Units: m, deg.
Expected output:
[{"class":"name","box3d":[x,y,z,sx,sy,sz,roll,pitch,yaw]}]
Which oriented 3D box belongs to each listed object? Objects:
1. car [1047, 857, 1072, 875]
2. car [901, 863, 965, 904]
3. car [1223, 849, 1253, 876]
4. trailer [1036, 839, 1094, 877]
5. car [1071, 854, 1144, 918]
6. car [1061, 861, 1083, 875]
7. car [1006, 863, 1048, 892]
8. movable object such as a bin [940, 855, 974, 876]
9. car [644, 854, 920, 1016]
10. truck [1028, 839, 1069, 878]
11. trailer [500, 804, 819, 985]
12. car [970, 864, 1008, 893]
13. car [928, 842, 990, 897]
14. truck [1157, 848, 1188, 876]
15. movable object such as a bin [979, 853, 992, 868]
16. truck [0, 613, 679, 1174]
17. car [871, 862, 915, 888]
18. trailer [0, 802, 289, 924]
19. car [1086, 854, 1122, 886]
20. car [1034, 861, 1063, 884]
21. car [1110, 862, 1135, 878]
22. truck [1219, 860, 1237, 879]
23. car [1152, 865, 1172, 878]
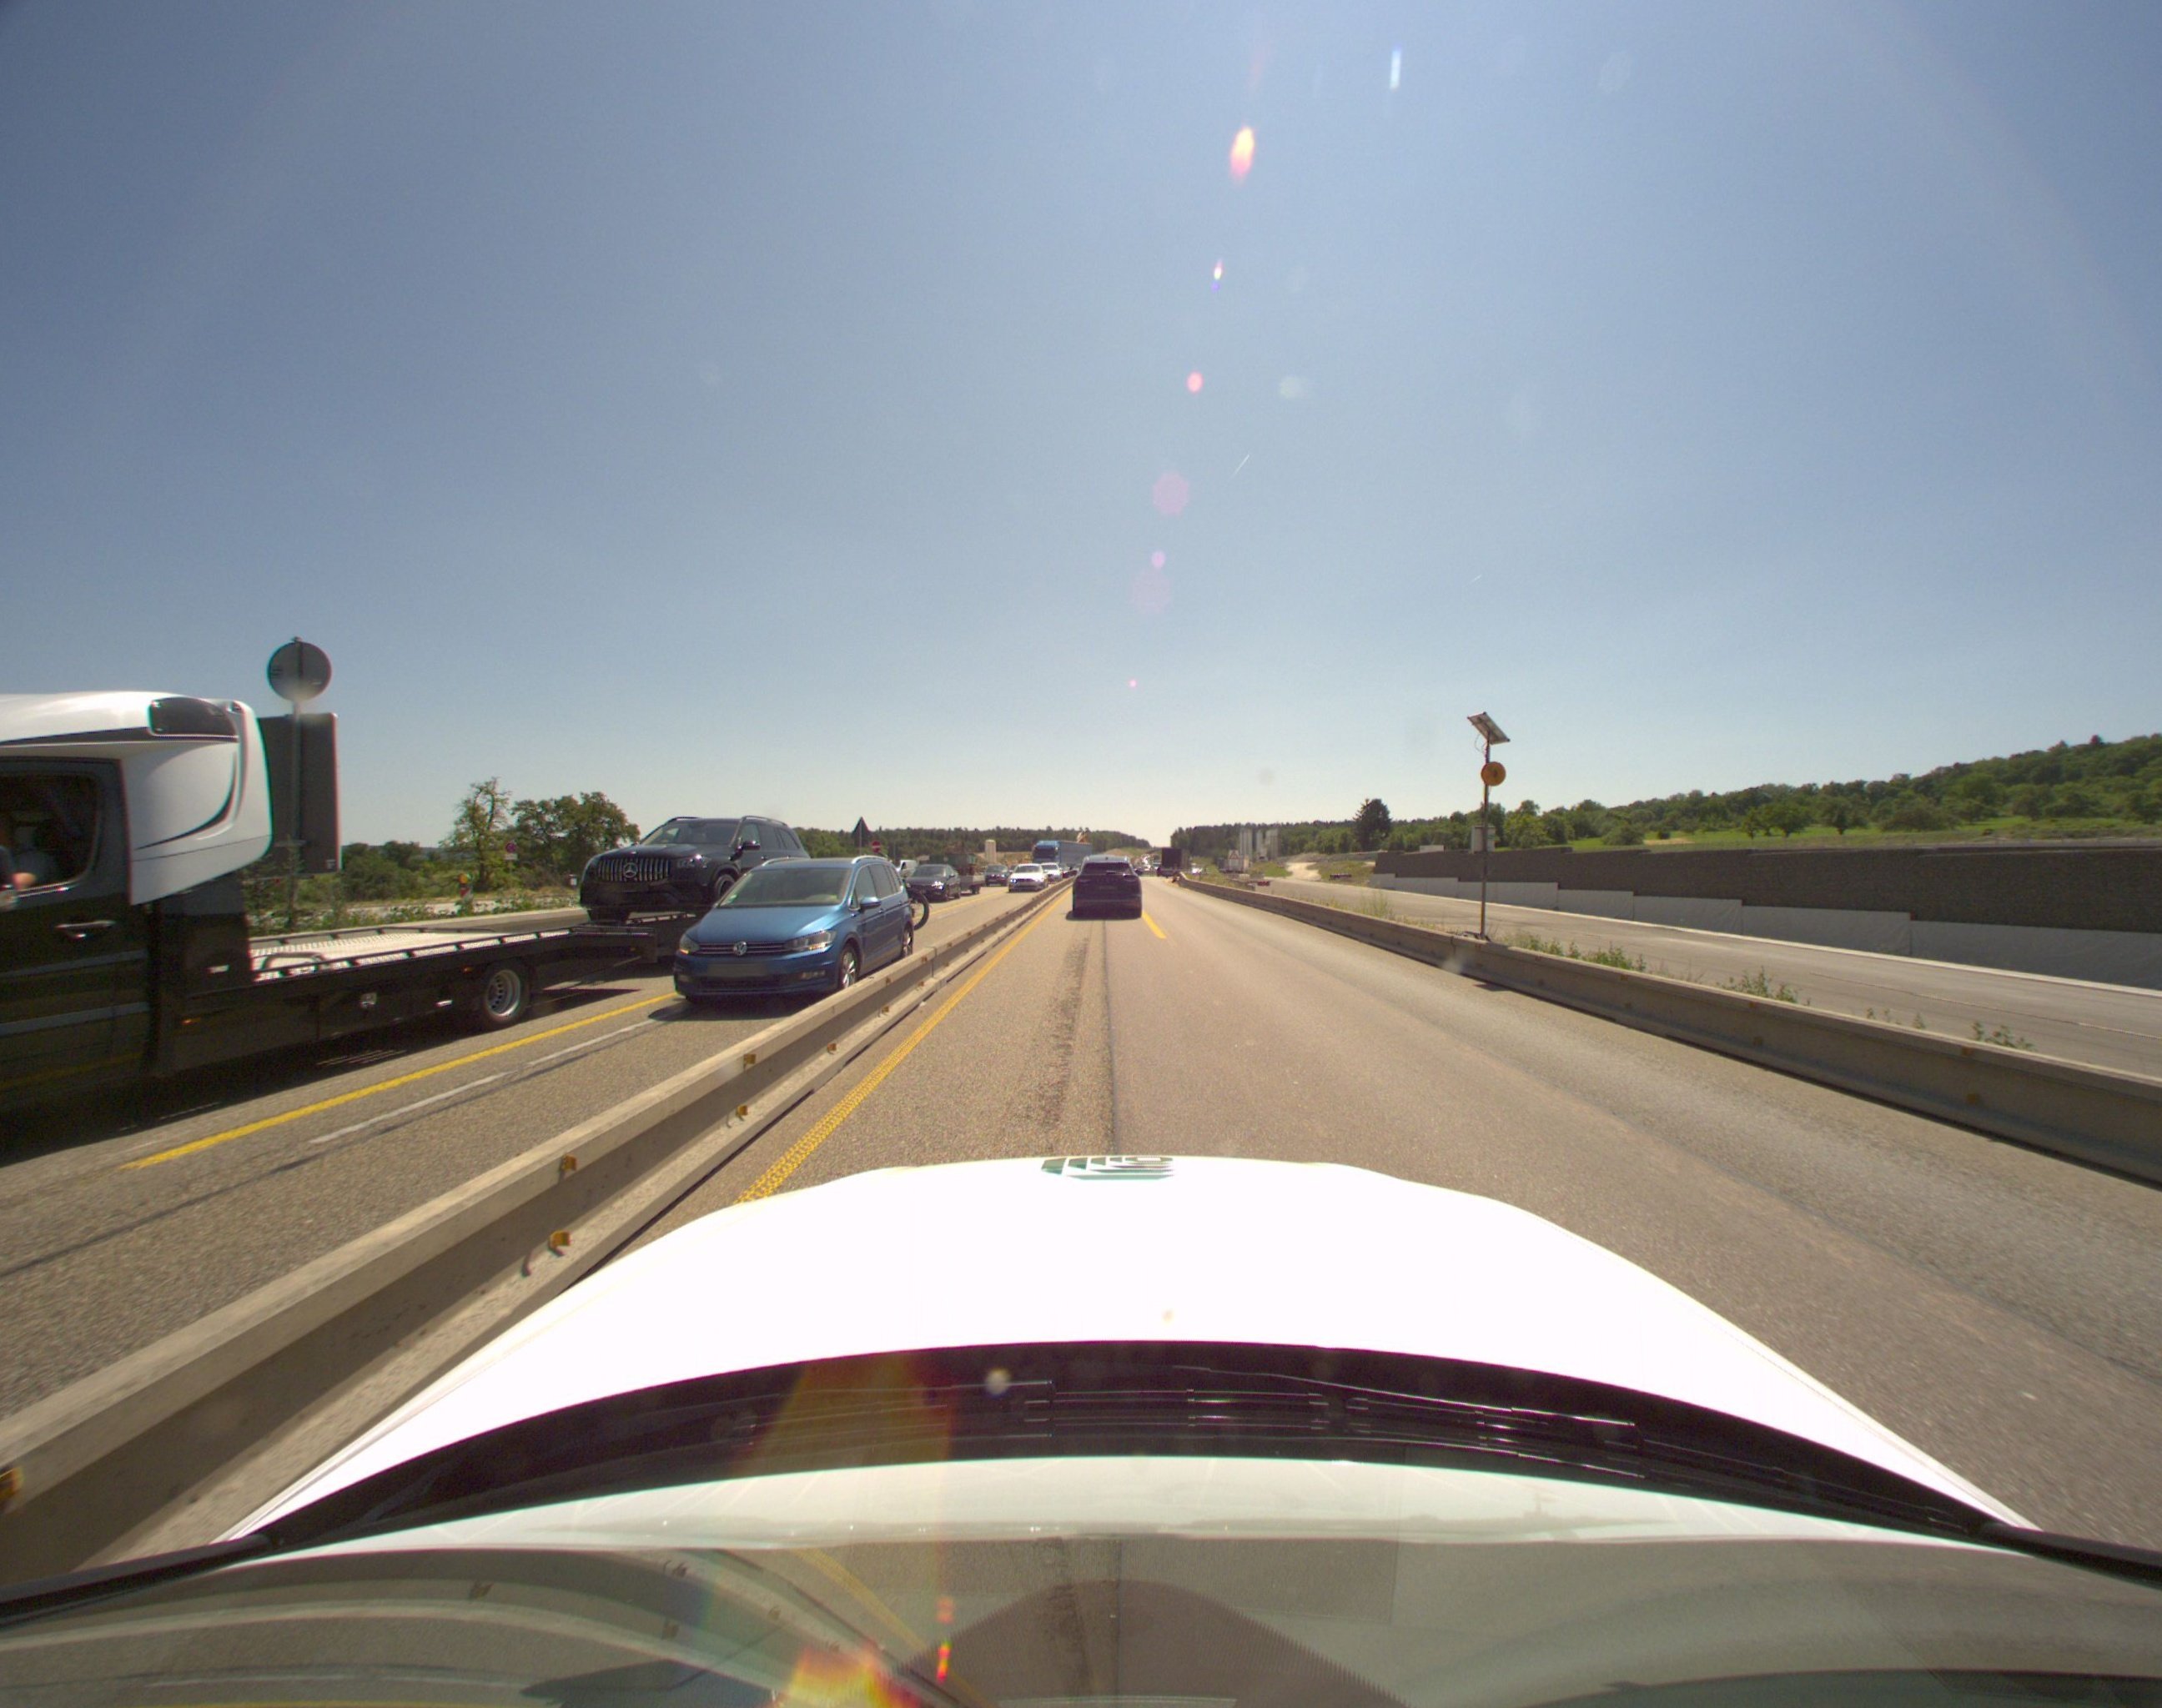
[{"class":"car","box3d":[-1.872,1.060,71.883,2.009,1.444,4.588,-1,1,1]},{"class":"car","box3d":[-5.882,1.128,32.738,1.681,1.452,4.336,-1,0,1]},{"class":"car","box3d":[25.582,1.475,132.399,3.410,4.101,9.237,4,0,18]},{"class":"trailer","box3d":[-1.723,0.498,97.171,2.892,4.129,13.974,-1,0,16]},{"class":"car","box3d":[0.737,0.810,22.538,1.835,1.582,4.002,-1,0,2]},{"class":"car","box3d":[-0.915,1.503,87.453,1.579,1.441,4.137,-2,-1,10]},{"class":"car","box3d":[-2.752,1.175,42.075,1.810,1.376,4.248,0,0,1]},{"class":"movable object such as a bin","box3d":[-19.952,1.861,131.566,3.773,3.256,5.569,3,0,8]},{"class":"car","box3d":[-3.448,0.825,10.304,1.897,1.608,4.002,0,0,2]},{"class":"truck","box3d":[-3.547,0.484,90.563,2.893,4.129,6.162,-1,0,14]},{"class":"trailer","box3d":[-6.404,0.524,13.426,2.174,2.314,5.615,-1,0,1]},{"class":"car","box3d":[-5.619,1.477,50.100,1.761,1.597,4.001,-1,0,1]},{"class":"car","box3d":[-5.872,0.700,40.056,1.907,2.399,6.453,1,0,1]},{"class":"truck","box3d":[10.328,0.945,91.455,2.653,2.946,5.642,-1,-1,15]},{"class":"movable object such as a bin","box3d":[-20.917,1.401,178.273,2.421,3.126,5.465,4,0,-9]},{"class":"truck","box3d":[-6.613,0.225,6.532,2.471,2.824,8.132,-2,0,2]},{"class":"car","box3d":[-15.488,1.692,67.392,1.908,1.941,5.102,-1,0,6]},{"class":"trailer","box3d":[-37.717,0.331,28.328,3.120,4.111,14.250,-1,-1,28]},{"class":"car","box3d":[1.330,0.935,48.680,1.987,1.844,4.000,1,-1,0]},{"class":"car","box3d":[-2.325,1.328,58.894,1.727,1.478,4.521,-1,0,1]},{"class":"car","box3d":[4.180,1.606,81.464,2.034,1.526,5.076,0,0,7]},{"class":"truck","box3d":[35.056,3.687,194.829,3.456,4.220,10.399,5,0,8]},{"class":"car","box3d":[10.447,2.216,104.755,1.806,1.644,3.883,1,-1,18]}]
